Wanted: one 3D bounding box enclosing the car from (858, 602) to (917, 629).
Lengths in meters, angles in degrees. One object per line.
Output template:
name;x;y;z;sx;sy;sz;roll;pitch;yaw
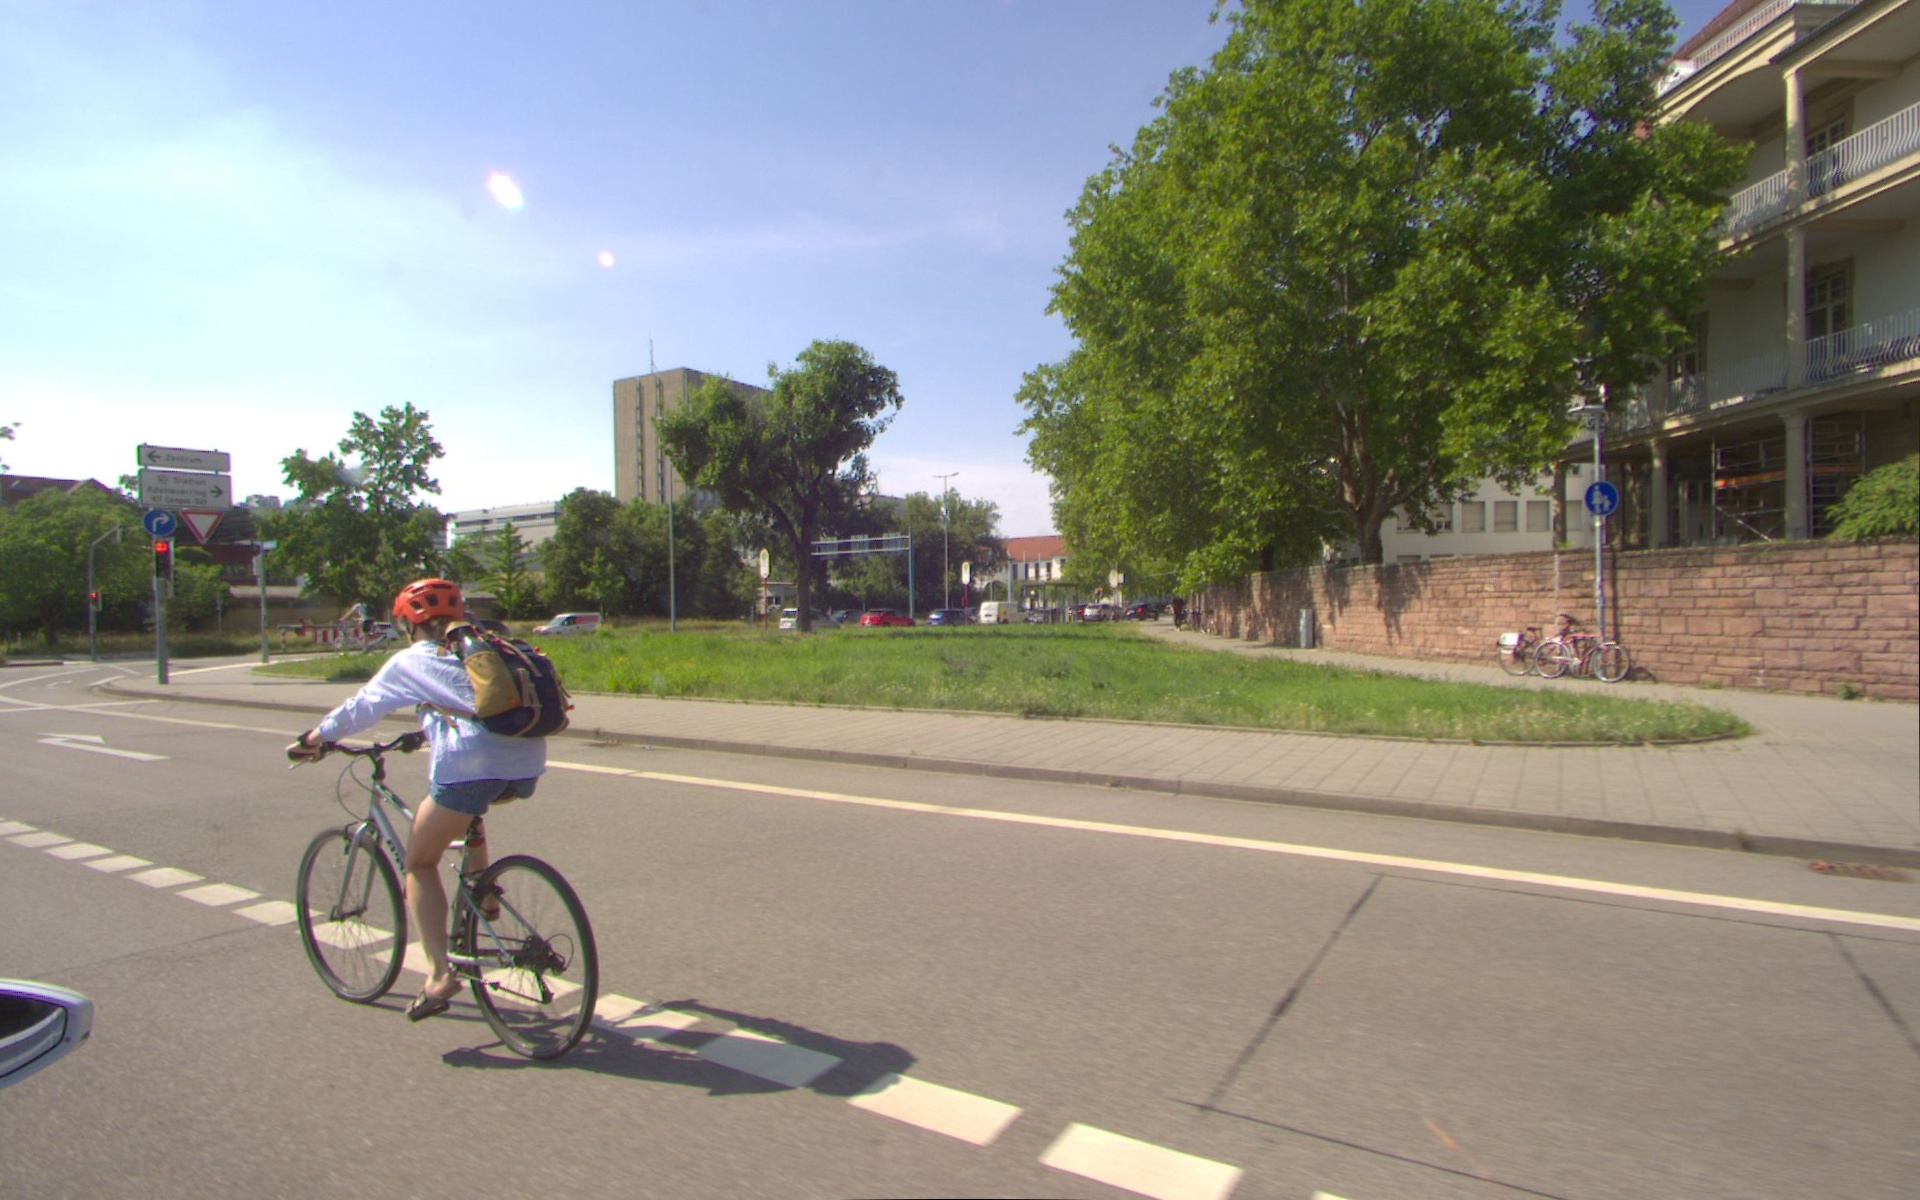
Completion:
car;-4.528;0.991;63.176;1.727;1.527;3.982;0;-3;32

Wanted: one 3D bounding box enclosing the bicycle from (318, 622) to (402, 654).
bicycle;-18.921;1.182;31.622;2.128;0.928;0.674;-1;1;-11

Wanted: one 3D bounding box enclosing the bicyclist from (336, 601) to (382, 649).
bicyclist;-18.939;0.792;31.566;1.121;1.489;0.496;0;-2;-11

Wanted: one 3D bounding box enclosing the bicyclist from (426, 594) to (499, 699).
bicyclist;-8.194;0.741;16.499;0.905;1.677;0.676;0;1;32

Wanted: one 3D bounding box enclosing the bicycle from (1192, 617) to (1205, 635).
bicycle;10.590;1.152;44.458;0.334;0.738;1.365;-1;0;5

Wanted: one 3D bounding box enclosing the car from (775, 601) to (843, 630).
car;-8.661;0.870;57.787;1.727;1.528;3.979;0;0;32

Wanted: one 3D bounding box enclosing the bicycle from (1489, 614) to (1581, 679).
bicycle;10.499;0.832;18.299;0.346;1.138;1.421;-2;1;-44

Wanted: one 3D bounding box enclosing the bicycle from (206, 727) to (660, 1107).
bicycle;-2.014;1.017;3.694;2.000;0.943;0.595;-1;-1;33

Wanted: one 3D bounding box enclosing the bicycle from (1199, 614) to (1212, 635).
bicycle;10.489;1.038;42.845;0.365;0.867;1.307;-1;0;7

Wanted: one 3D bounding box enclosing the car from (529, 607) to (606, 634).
car;-24.743;1.255;63.236;1.882;1.590;4.302;0;0;31

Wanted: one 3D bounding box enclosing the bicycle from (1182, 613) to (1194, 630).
bicycle;10.743;1.007;47.244;0.334;0.738;1.365;-1;0;5

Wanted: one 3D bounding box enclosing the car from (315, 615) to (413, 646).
car;-31.619;1.623;53.213;1.971;1.483;3.979;-2;-1;31

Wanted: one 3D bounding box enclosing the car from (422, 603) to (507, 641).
car;-28.746;1.248;58.157;1.972;2.040;3.976;0;0;34

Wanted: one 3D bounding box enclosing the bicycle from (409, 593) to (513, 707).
bicycle;-8.220;0.797;16.487;1.785;1.789;0.676;0;1;32

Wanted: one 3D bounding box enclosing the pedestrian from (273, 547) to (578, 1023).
pedestrian;-1.954;0.592;3.649;0.999;1.485;0.582;-1;-1;34

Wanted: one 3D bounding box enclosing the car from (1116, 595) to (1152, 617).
car;16.498;0.538;94.793;1.972;2.040;3.977;-1;0;33

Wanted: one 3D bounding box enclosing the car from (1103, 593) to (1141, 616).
car;14.988;0.440;92.336;1.972;2.040;3.977;-1;0;33

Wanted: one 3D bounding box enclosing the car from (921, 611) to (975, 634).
car;-0.822;1.540;69.086;1.729;1.493;3.974;0;0;35

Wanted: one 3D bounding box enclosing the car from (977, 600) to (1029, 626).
car;3.242;0.953;74.811;1.729;1.781;4.404;0;0;35

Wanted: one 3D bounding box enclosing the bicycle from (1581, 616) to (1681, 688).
bicycle;11.139;0.840;16.662;0.343;1.138;1.430;-1;1;-23

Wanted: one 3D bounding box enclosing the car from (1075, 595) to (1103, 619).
car;11.341;0.641;88.260;1.961;2.040;3.999;-1;0;0

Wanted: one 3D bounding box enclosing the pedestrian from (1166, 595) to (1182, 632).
pedestrian;10.189;0.632;47.704;0.608;1.763;0.599;-1;1;3

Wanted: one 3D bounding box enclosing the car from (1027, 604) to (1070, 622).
car;7.143;1.039;80.730;1.729;1.357;3.974;0;0;35

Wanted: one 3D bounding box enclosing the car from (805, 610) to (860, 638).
car;-9.872;1.856;77.541;1.975;2.039;3.972;-3;-1;37
